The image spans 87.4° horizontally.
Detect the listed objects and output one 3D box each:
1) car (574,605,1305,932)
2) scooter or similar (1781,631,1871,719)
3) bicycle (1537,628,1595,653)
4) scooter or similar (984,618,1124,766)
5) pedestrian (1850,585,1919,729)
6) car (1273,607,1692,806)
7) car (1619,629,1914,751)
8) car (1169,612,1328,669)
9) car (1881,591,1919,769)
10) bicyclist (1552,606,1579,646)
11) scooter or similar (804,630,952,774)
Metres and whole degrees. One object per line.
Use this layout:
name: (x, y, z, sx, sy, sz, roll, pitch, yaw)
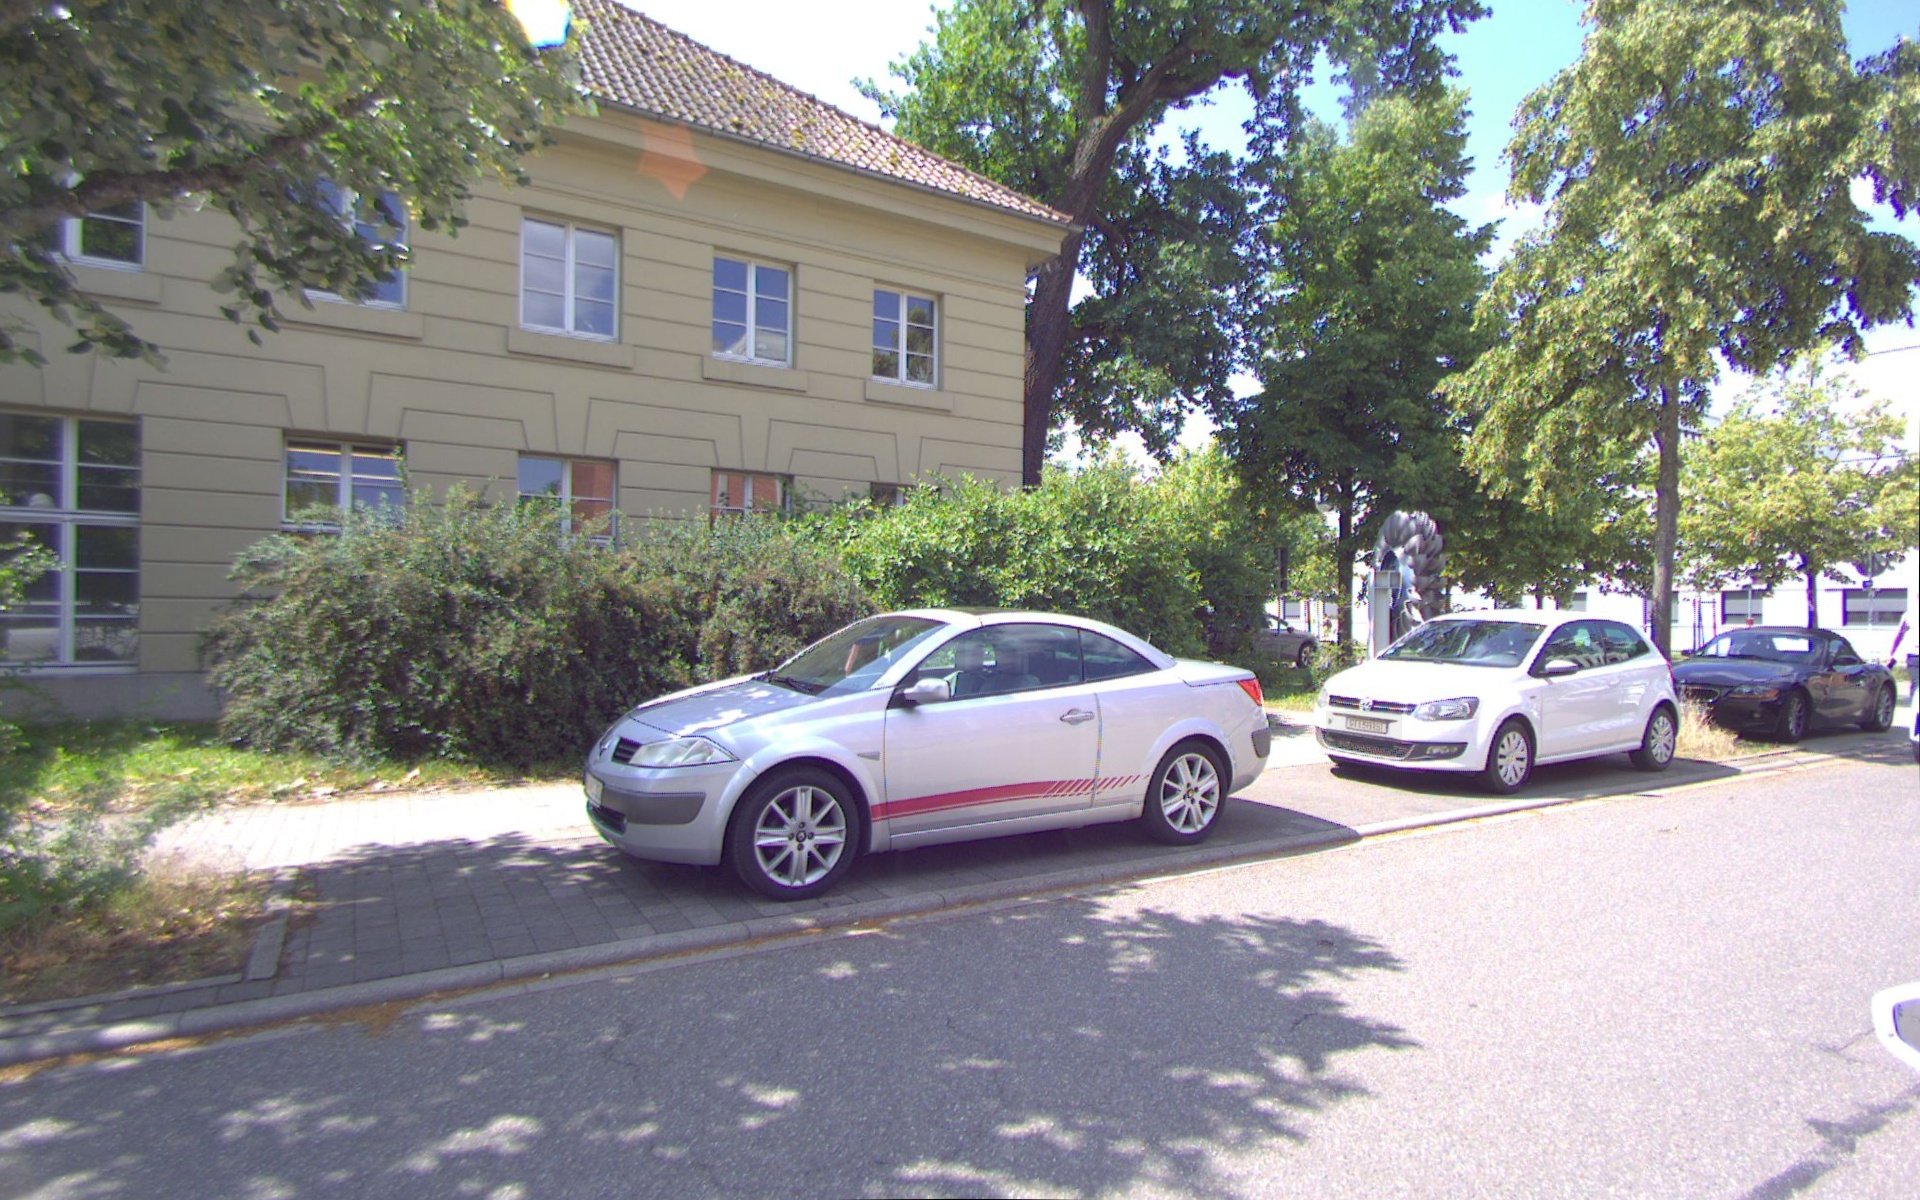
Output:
car: (-0.028, 0.766, 6.096, 4.115, 1.362, 1.717, 1, 1, -30)
scooter or similar: (13.368, 1.139, 15.513, 1.197, 1.316, 0.504, 0, -1, -19)
bicycle: (26.980, 1.797, 44.741, 0.800, 1.015, 2.110, 2, 0, -26)
scooter or similar: (0.892, 0.841, 9.466, 1.215, 1.304, 0.522, 0, -3, -31)
pedestrian: (13.330, 0.789, 14.082, 1.000, 1.928, 1.176, 2, 0, 29)
car: (4.784, 0.819, 9.087, 3.764, 1.430, 1.653, 1, 0, -31)
car: (10.247, 1.041, 12.716, 3.881, 1.318, 1.637, 1, -1, -30)
car: (8.307, 1.155, 28.882, 4.391, 1.536, 1.918, 0, -3, -32)
car: (11.144, 0.853, 9.937, 4.473, 1.640, 1.906, 2, 1, -33)
bicyclist: (26.992, 1.158, 44.801, 0.800, 1.779, 0.688, 2, 0, -26)
scooter or similar: (-0.712, 0.863, 8.647, 1.206, 1.187, 0.471, 1, 0, -11)
